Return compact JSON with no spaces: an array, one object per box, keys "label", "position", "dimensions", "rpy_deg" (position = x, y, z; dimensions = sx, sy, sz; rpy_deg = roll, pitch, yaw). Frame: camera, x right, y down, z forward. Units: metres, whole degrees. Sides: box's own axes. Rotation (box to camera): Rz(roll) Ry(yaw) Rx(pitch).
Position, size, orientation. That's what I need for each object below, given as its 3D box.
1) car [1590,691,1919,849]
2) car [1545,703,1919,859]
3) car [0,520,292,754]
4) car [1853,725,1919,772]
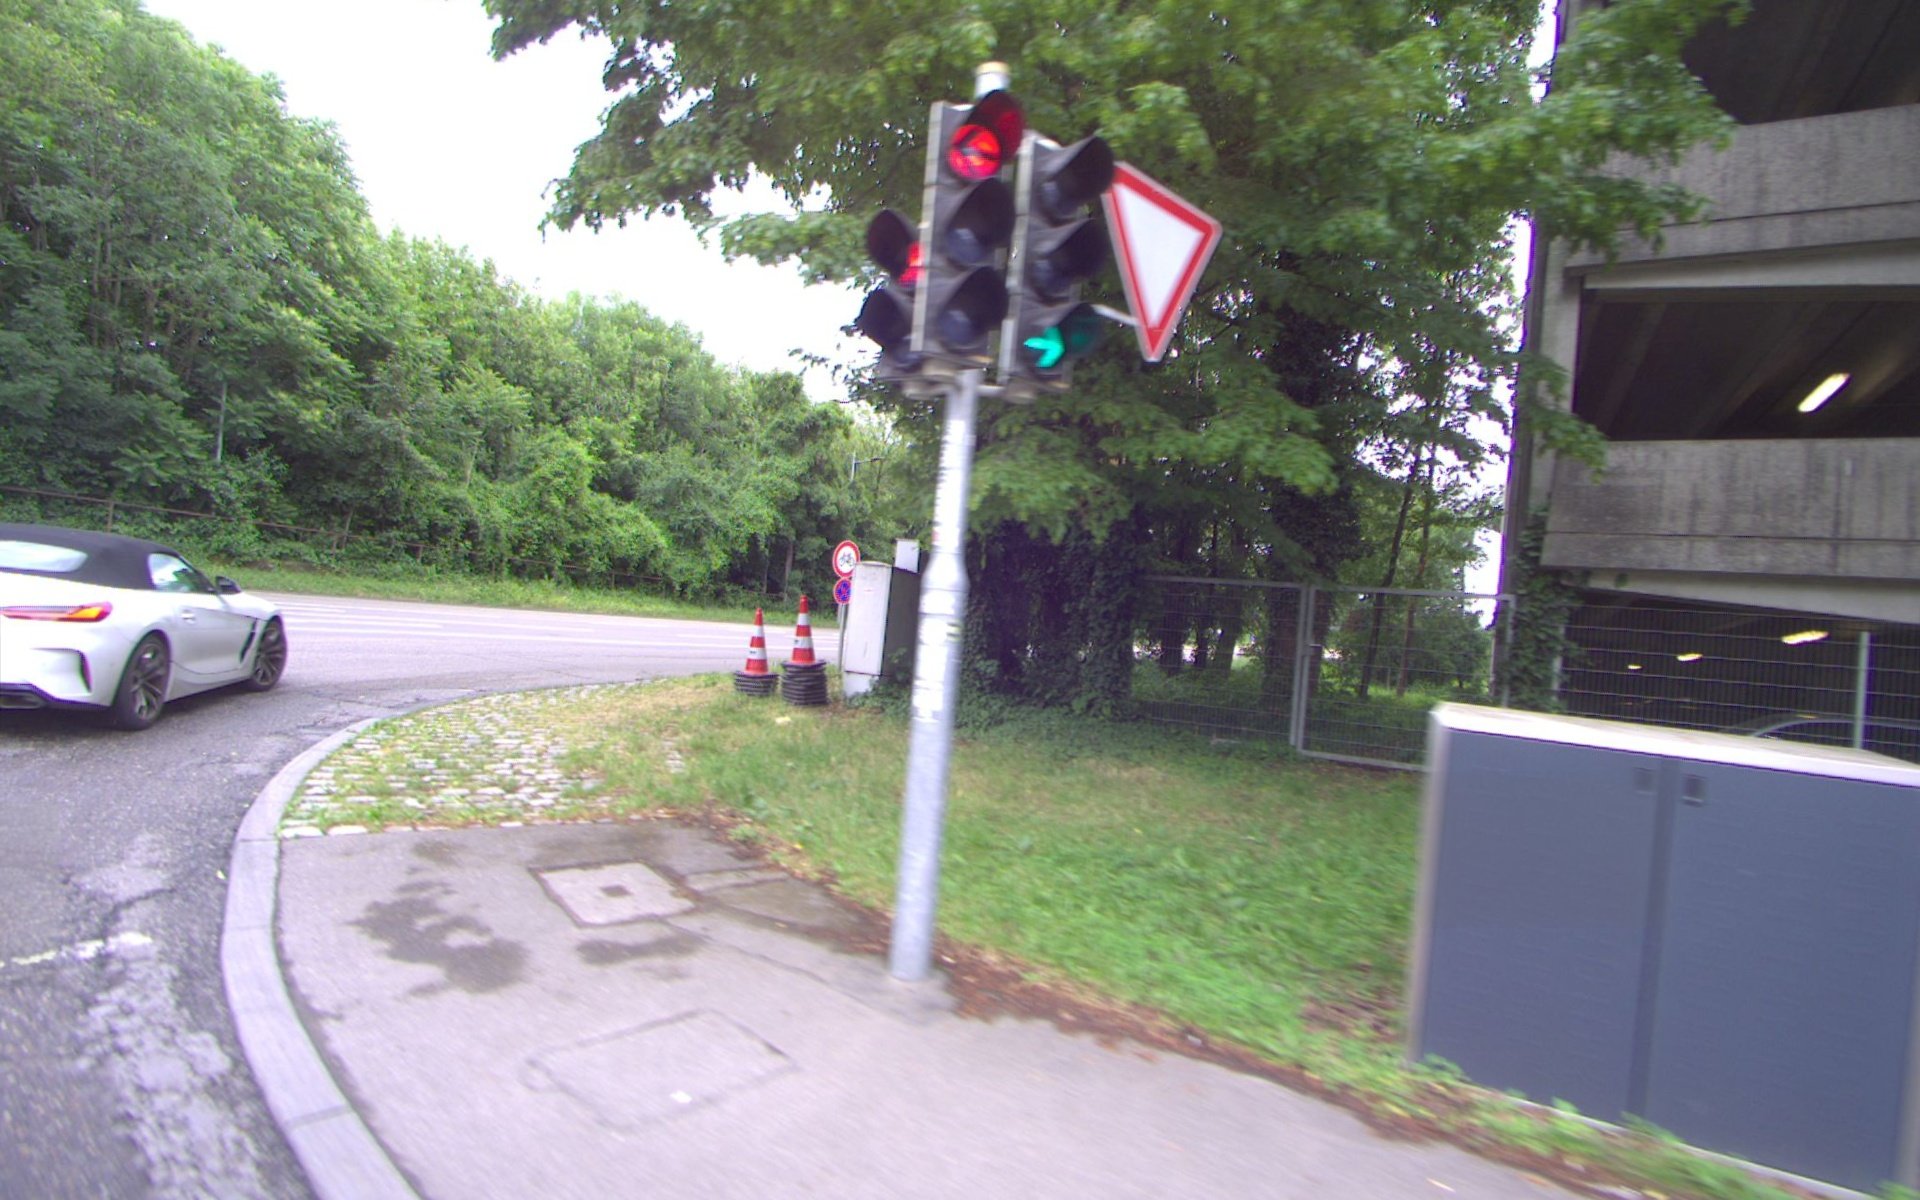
[{"label":"car","position":[8.251,1.655,9.977],"dimensions":[3.199,1.100,1.537],"rpy_deg":[5,-1,28]},{"label":"car","position":[9.169,2.067,12.095],"dimensions":[3.579,1.176,1.620],"rpy_deg":[5,-1,30]},{"label":"car","position":[-6.685,0.122,7.495],"dimensions":[1.854,1.325,3.857],"rpy_deg":[6,-1,-20]},{"label":"car","position":[32.399,5.072,33.464],"dimensions":[3.611,1.367,1.672],"rpy_deg":[4,-2,27]}]
